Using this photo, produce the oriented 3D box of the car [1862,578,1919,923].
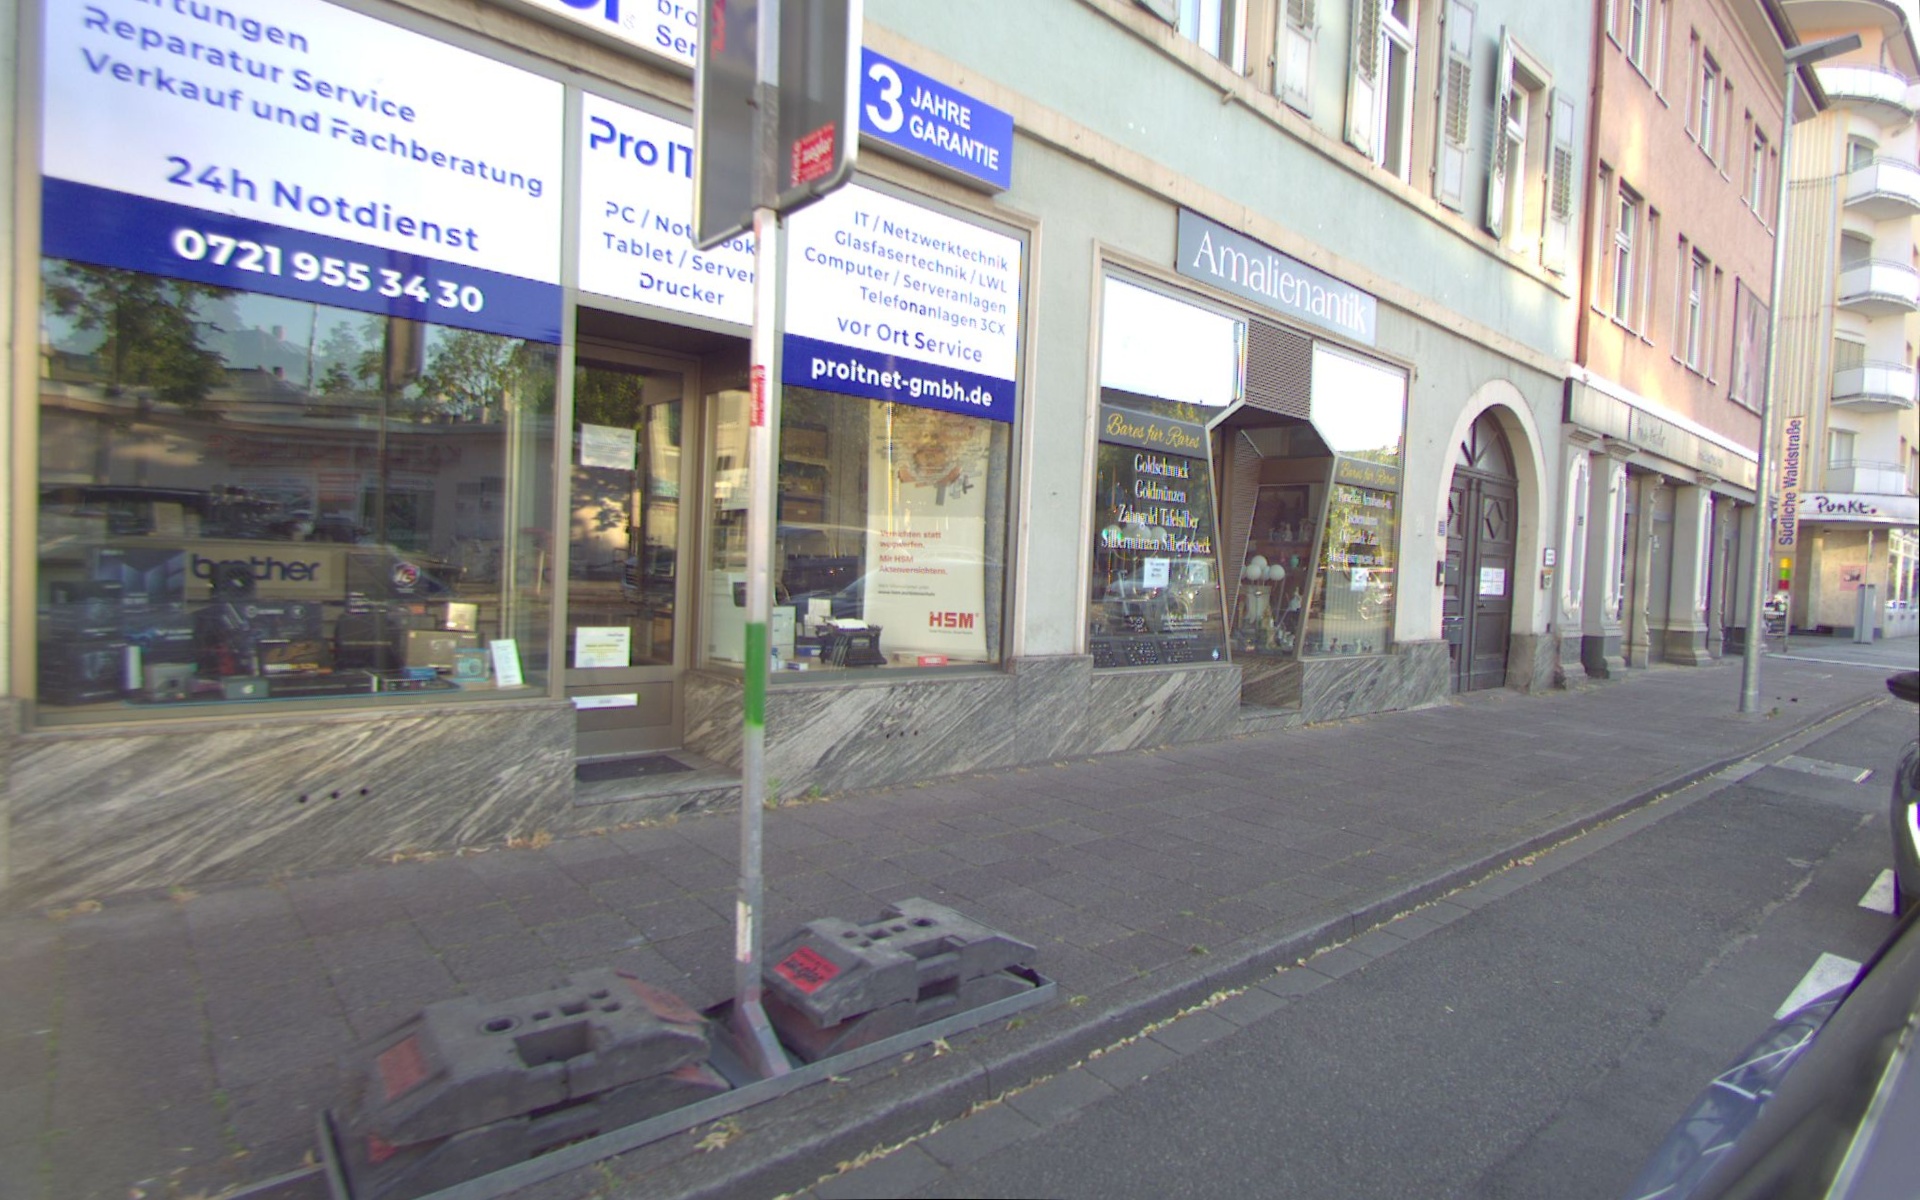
[{"bbox_3d":[6.019,0.687,4.928,3.834,1.460,1.751,1,2,-38],"label":"car"}]
